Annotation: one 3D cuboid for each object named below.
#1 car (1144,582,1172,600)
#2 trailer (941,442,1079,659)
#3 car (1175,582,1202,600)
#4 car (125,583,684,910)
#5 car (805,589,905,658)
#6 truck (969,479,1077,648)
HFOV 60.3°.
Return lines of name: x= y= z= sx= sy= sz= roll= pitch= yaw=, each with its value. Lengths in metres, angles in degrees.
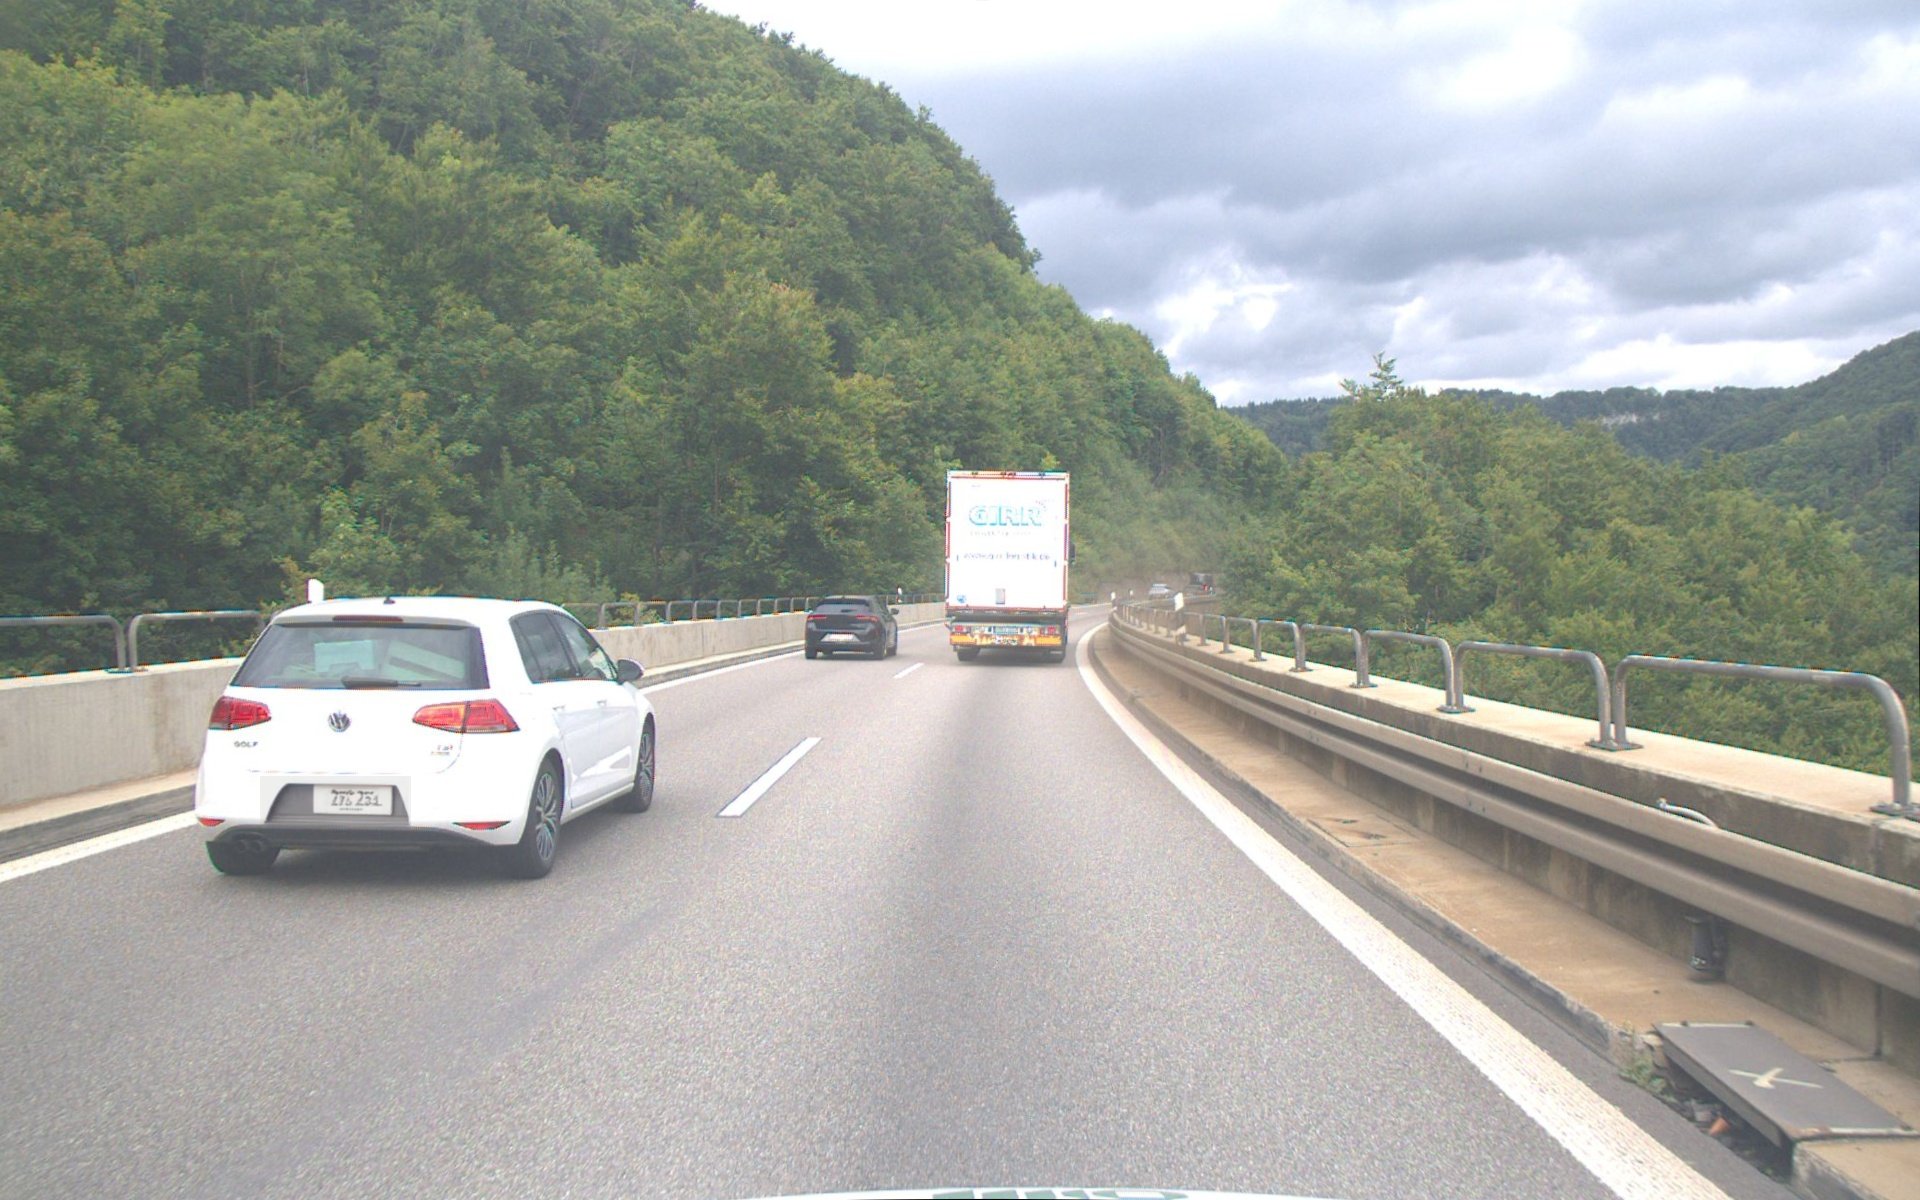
car: x=18.665 y=-0.796 z=155.716 sx=1.951 sy=1.593 sz=4.002 roll=0 pitch=-1 yaw=16
trailer: x=1.409 y=-0.961 z=39.737 sx=2.754 sy=4.378 sz=12.250 roll=-1 pitch=-1 yaw=4
car: x=21.202 y=-0.837 z=153.428 sx=1.951 sy=1.593 sz=4.002 roll=0 pitch=-1 yaw=16
car: x=-2.967 y=0.671 z=10.010 sx=1.807 sy=1.507 sz=4.628 roll=0 pitch=0 yaw=0
car: x=-2.341 y=0.508 z=37.834 sx=1.736 sy=1.486 sz=4.583 roll=0 pitch=0 yaw=3
truck: x=1.831 y=-0.922 z=46.160 sx=2.754 sy=4.378 sz=6.261 roll=-1 pitch=-1 yaw=4
